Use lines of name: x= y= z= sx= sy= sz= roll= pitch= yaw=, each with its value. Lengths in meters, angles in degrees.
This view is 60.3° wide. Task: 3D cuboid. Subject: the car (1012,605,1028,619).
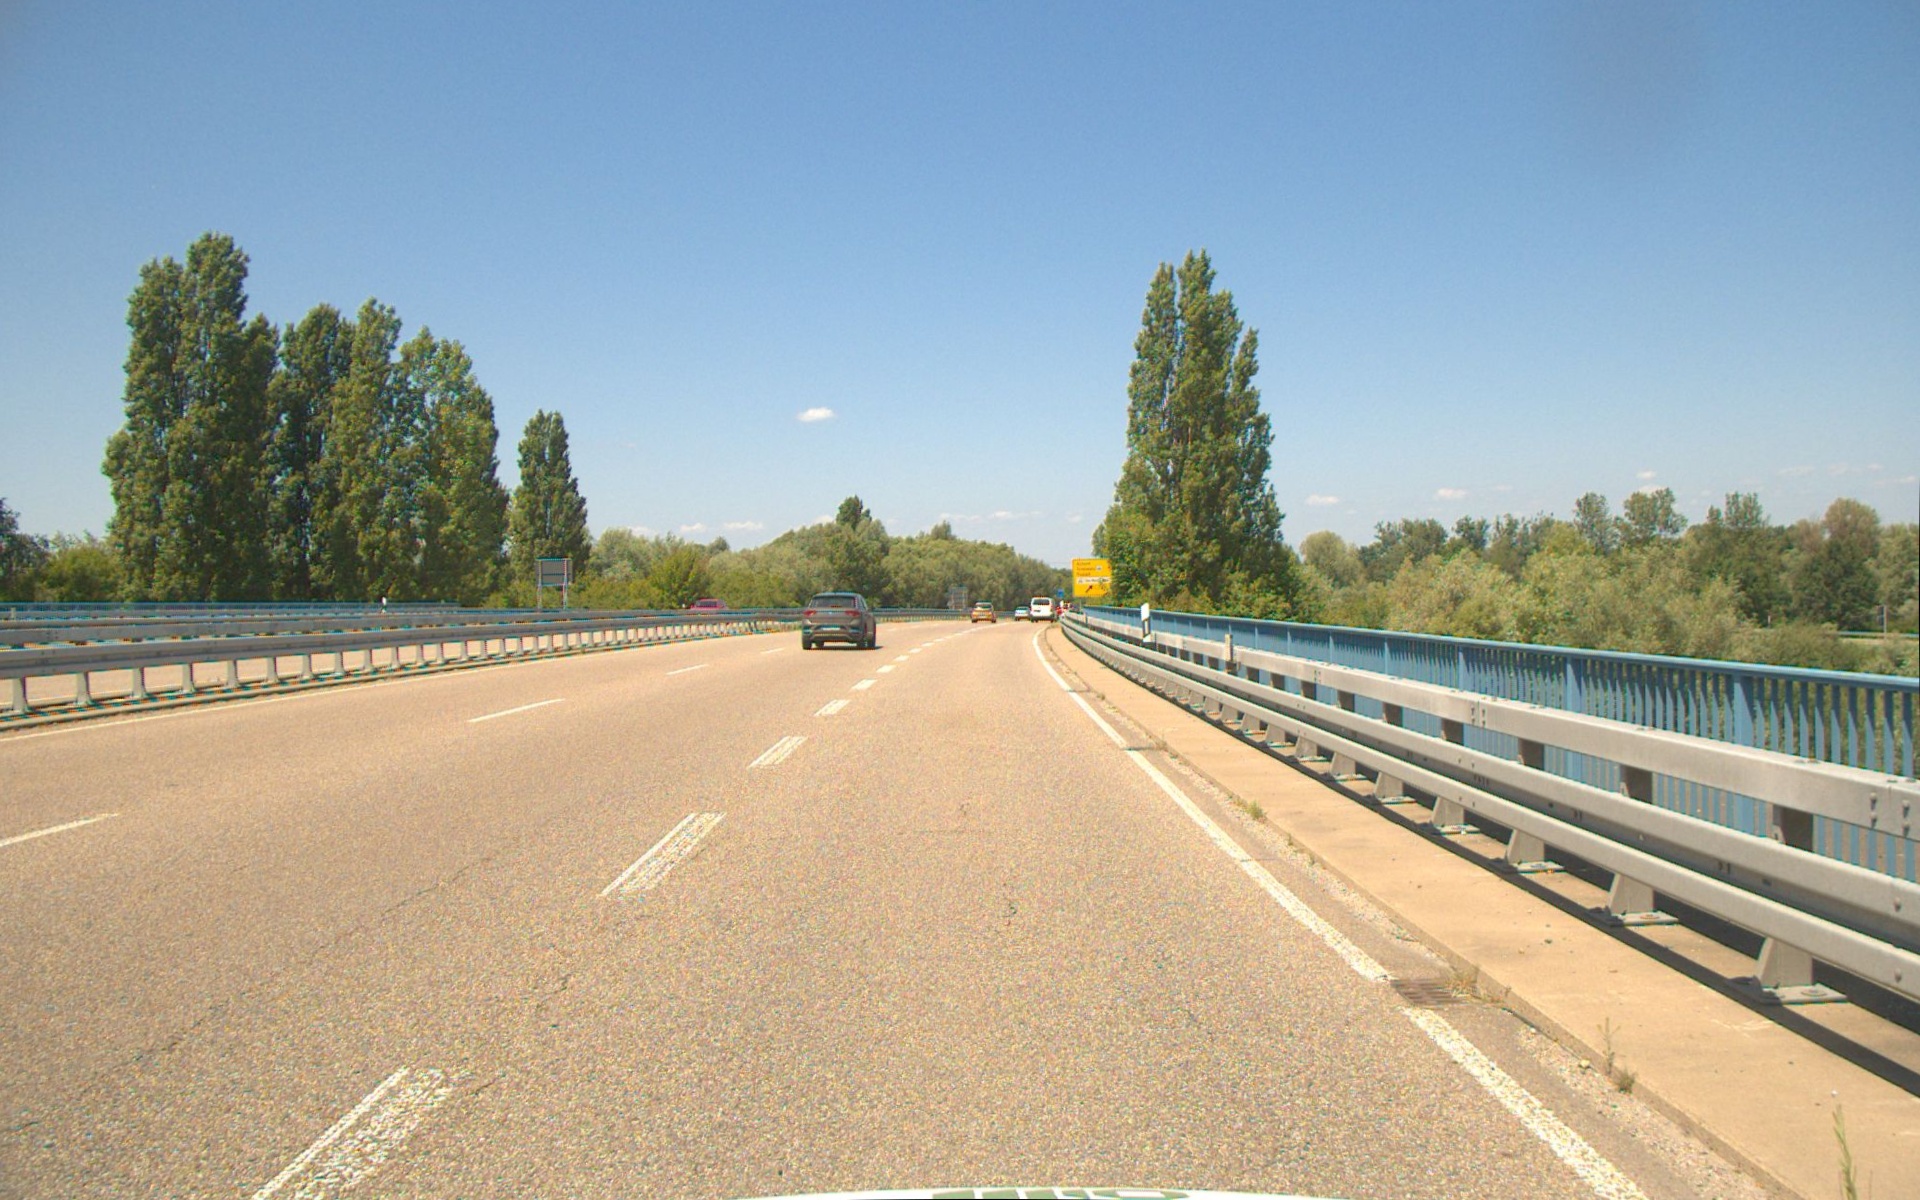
car: x=6.924 y=1.364 z=190.652 sx=1.802 sy=1.476 sz=4.002 roll=1 pitch=0 yaw=4

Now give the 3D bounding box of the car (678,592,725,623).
car: x=-14.746 y=0.446 z=94.452 sx=1.805 sy=1.697 sz=5.051 roll=0 pitch=-1 yaw=1

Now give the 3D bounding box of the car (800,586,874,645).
car: x=-3.425 y=0.387 z=46.815 sx=1.804 sy=1.556 sz=4.469 roll=1 pitch=0 yaw=-1

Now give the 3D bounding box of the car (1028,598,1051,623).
car: x=6.416 y=0.812 z=133.438 sx=1.803 sy=1.928 sz=4.002 roll=1 pitch=0 yaw=3

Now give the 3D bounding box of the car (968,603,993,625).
car: x=1.526 y=1.024 z=123.435 sx=1.803 sy=1.489 sz=4.000 roll=1 pitch=0 yaw=0
